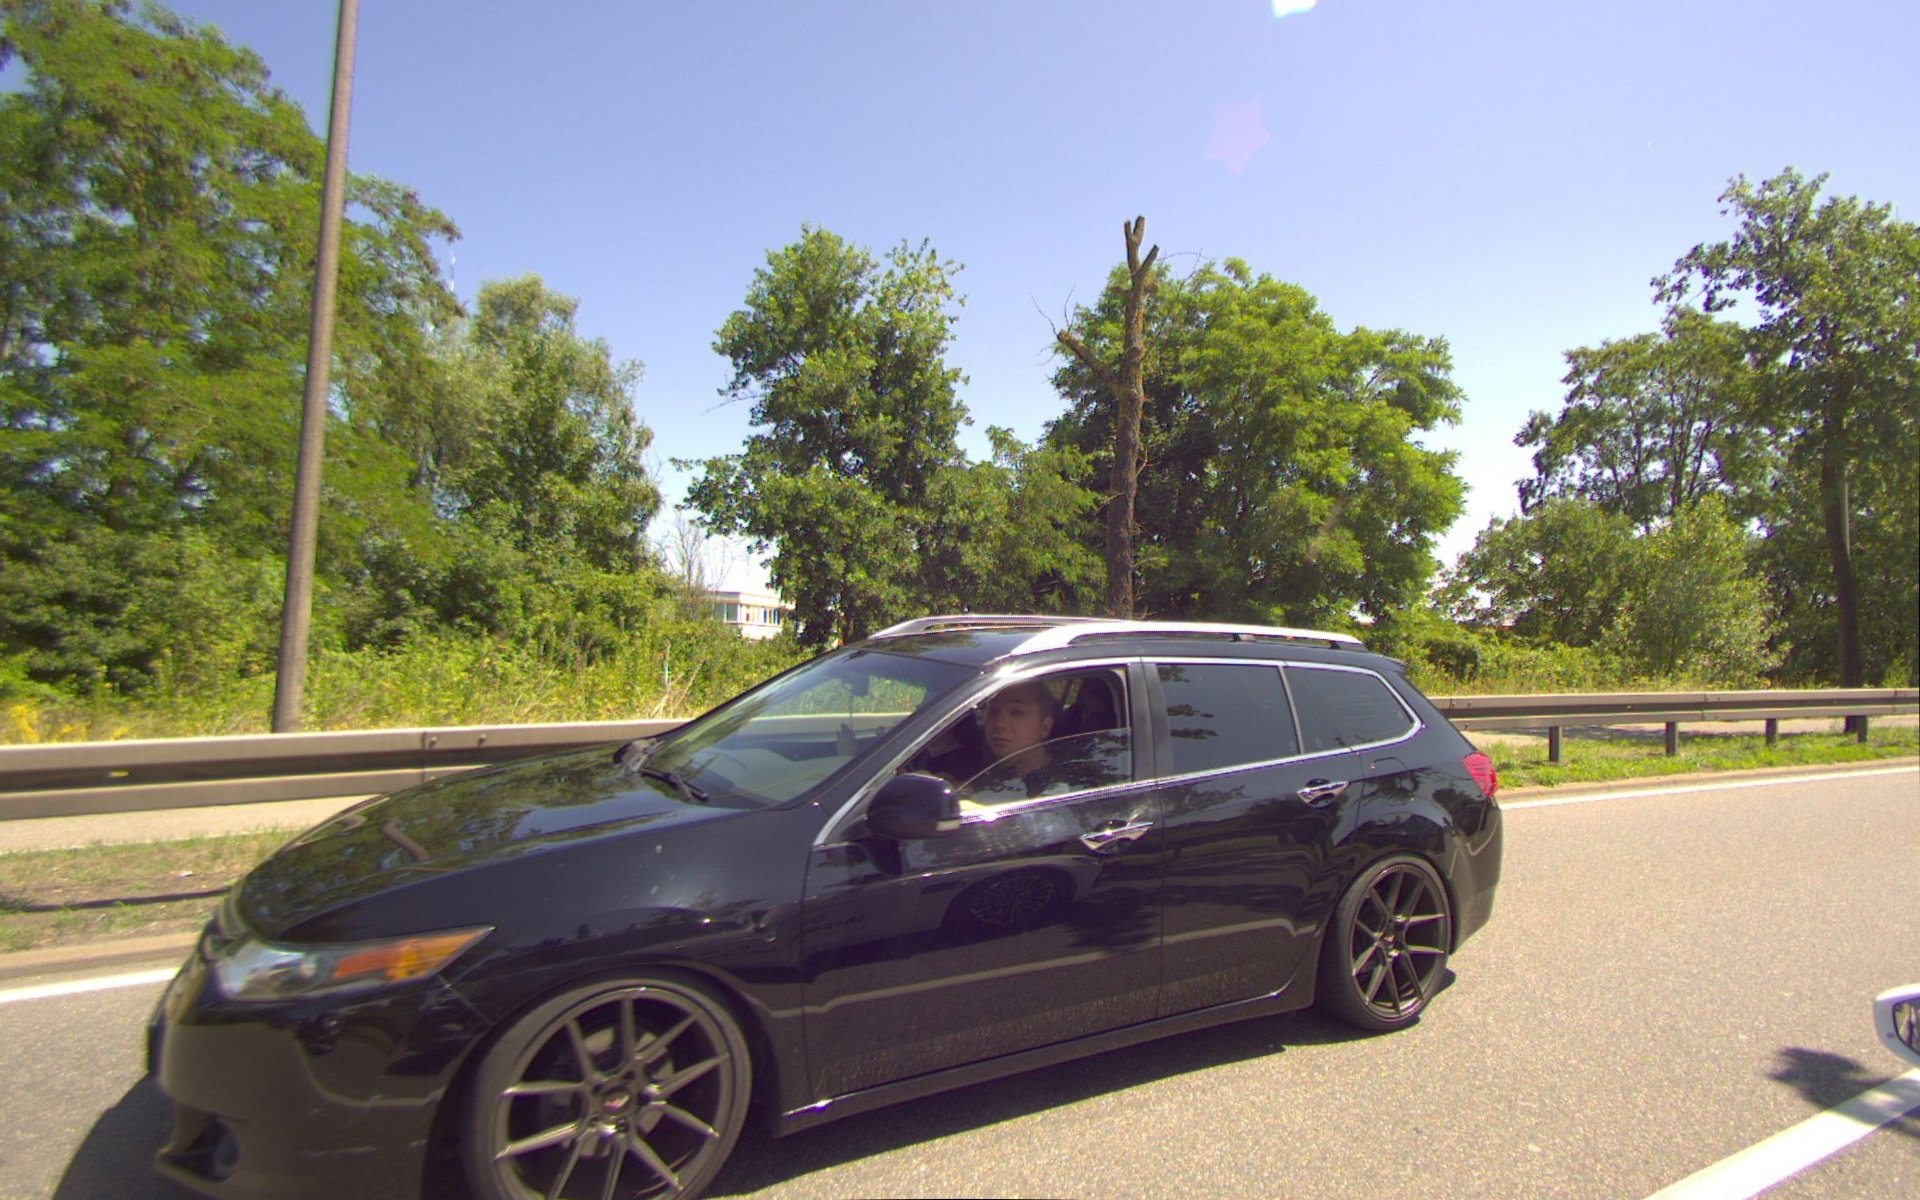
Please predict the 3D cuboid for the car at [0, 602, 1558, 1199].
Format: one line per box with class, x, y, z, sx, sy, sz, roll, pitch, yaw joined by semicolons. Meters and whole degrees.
car;-0.104;0.766;3.601;4.615;1.399;1.867;1;0;-30
